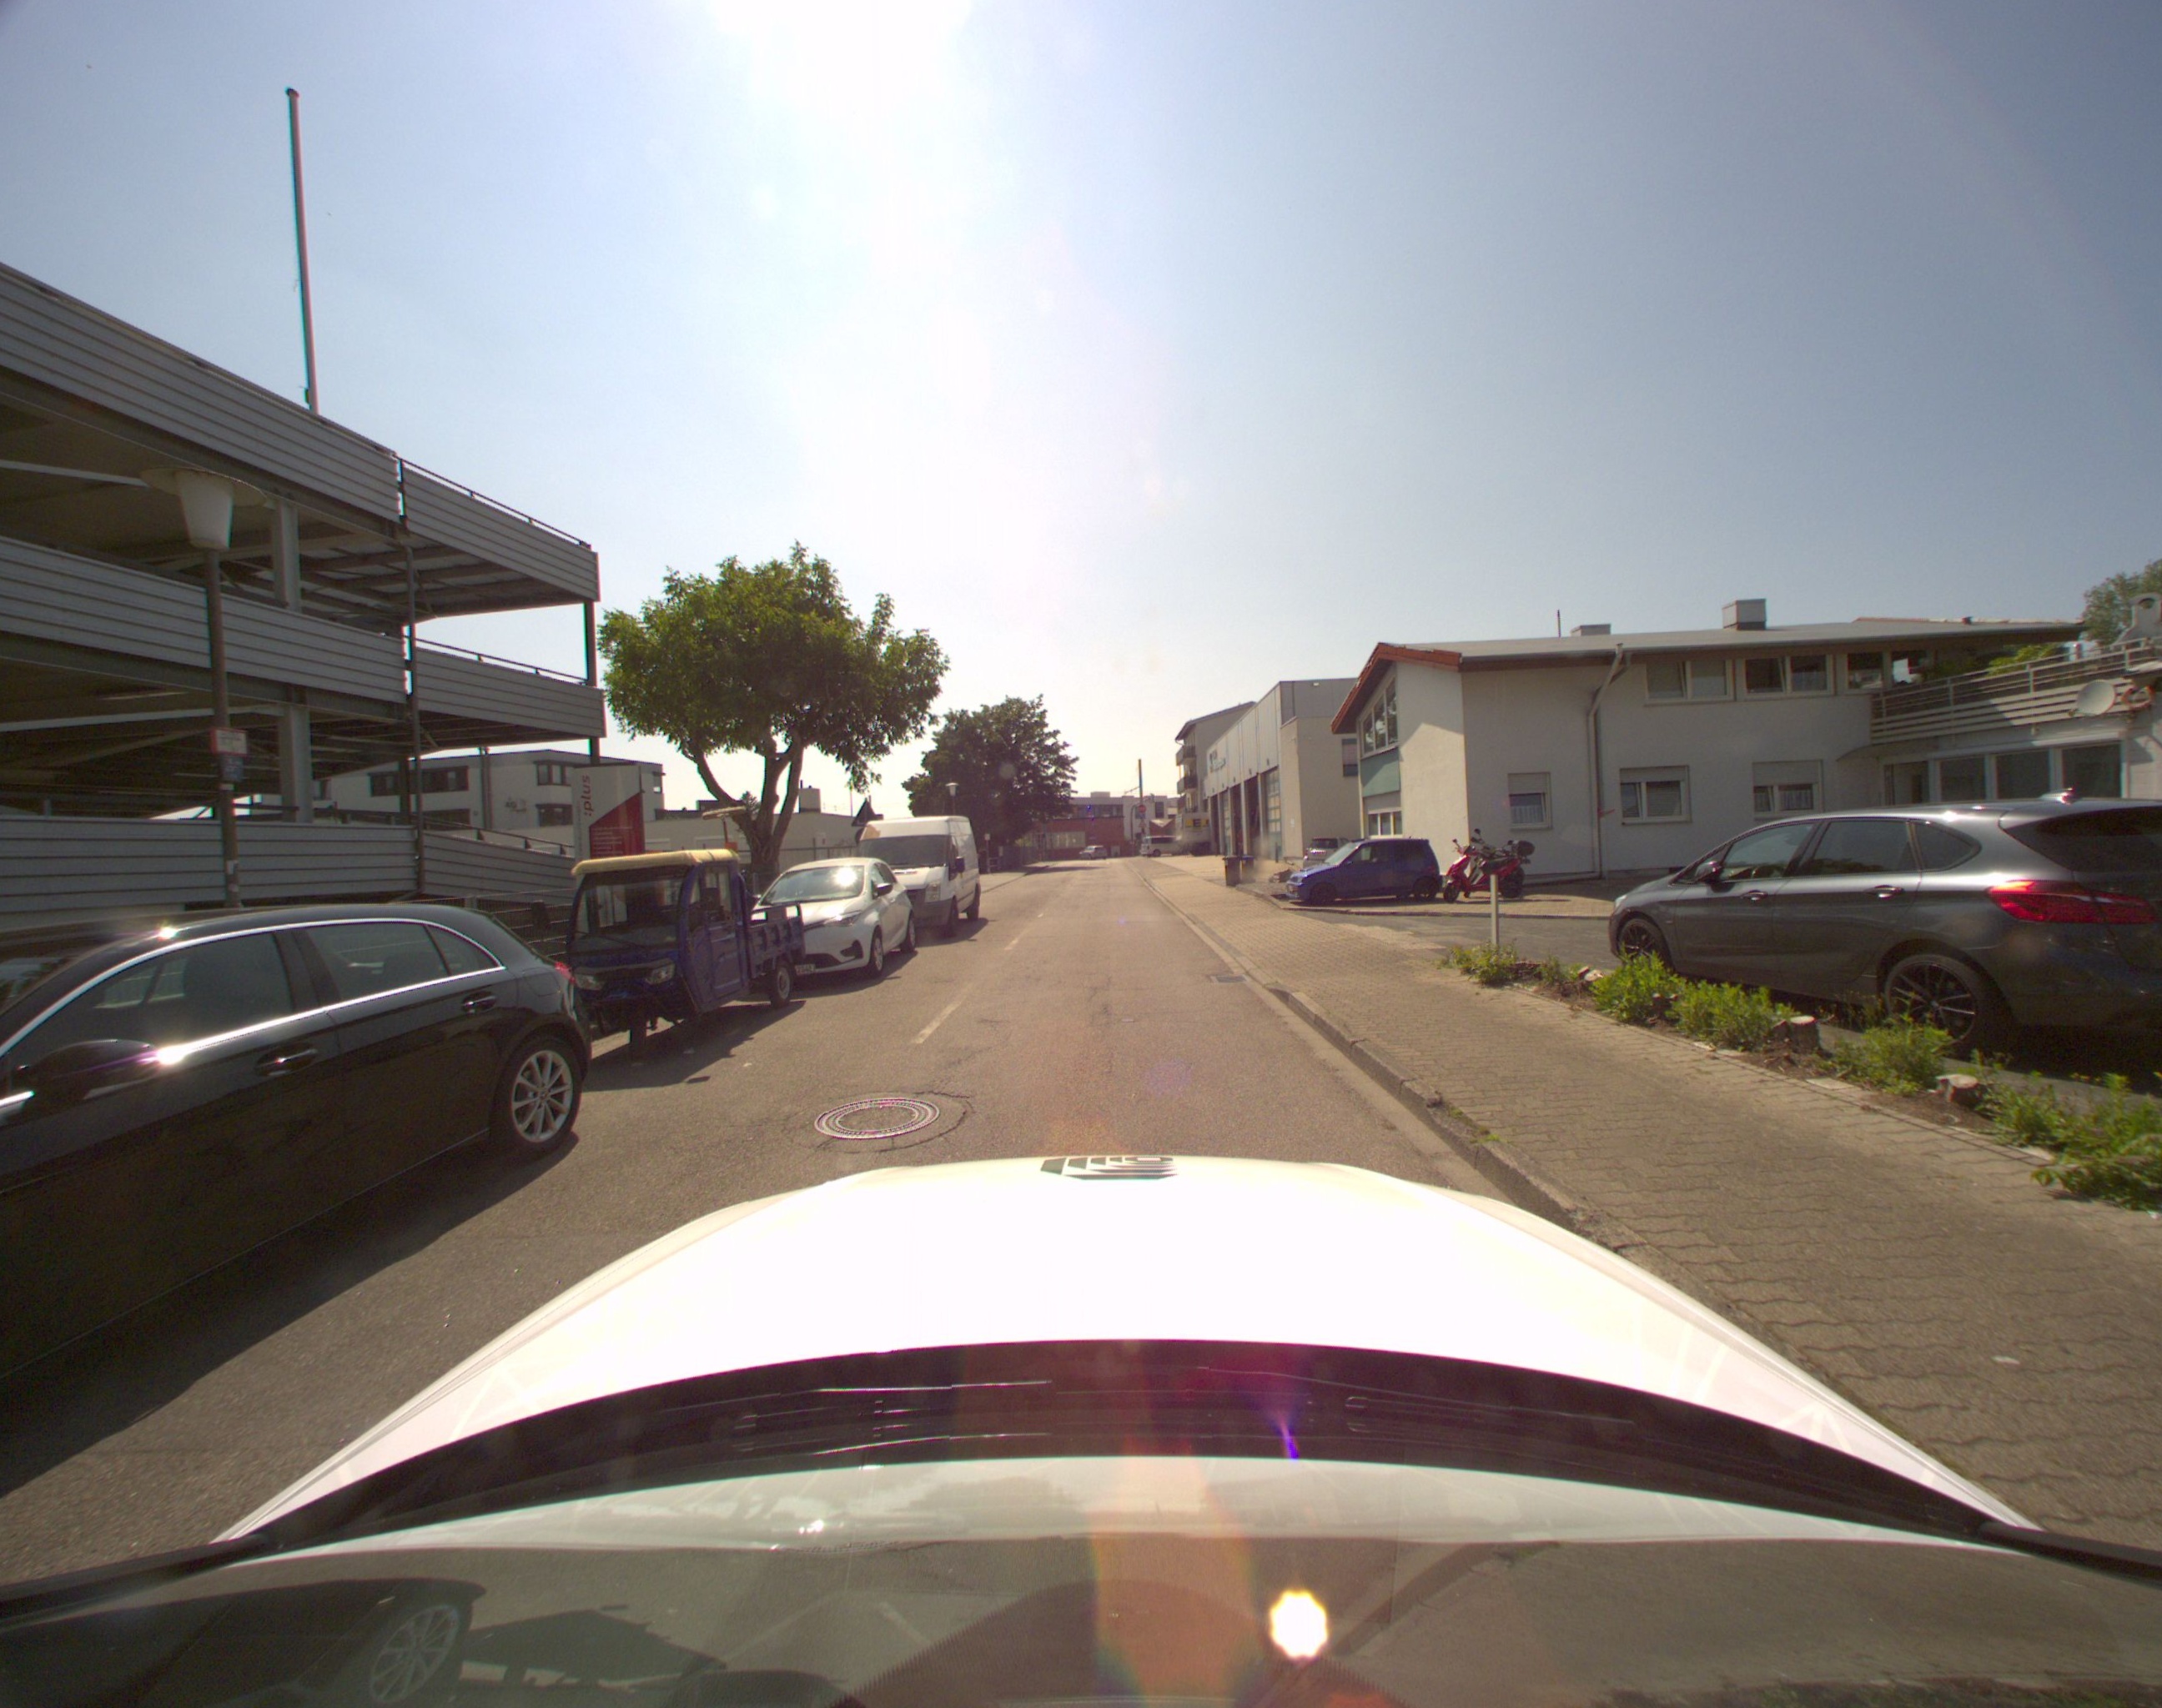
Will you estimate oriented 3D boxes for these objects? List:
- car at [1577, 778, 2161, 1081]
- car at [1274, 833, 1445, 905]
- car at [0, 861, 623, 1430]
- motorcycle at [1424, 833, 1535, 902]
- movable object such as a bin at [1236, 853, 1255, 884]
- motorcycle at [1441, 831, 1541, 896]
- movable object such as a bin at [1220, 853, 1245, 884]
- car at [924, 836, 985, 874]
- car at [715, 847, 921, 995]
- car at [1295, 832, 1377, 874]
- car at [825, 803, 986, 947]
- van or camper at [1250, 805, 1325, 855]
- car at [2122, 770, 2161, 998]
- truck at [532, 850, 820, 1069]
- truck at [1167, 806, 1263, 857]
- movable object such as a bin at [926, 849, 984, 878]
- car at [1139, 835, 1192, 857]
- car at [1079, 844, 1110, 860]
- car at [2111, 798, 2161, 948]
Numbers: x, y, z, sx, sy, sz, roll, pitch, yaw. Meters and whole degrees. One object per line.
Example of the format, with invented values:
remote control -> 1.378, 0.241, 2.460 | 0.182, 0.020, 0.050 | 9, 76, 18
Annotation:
car -> 6.090, 0.350, 6.389 | 1.805, 1.558, 4.294 | -3, 0, 1
car -> 6.157, 0.315, 18.262 | 3.240, 1.398, 1.674 | -3, 0, 2
car -> -3.716, 0.837, 2.887 | 1.698, 1.463, 4.115 | -4, 0, 1
motorcycle -> 8.271, 0.268, 16.946 | 1.864, 1.279, 0.796 | -4, 0, -2
movable object such as a bin -> 5.316, 0.469, 26.310 | 0.510, 0.946, 0.489 | -3, 0, 13
motorcycle -> 9.012, 0.205, 17.935 | 1.748, 1.279, 0.794 | -4, 0, -8
movable object such as a bin -> 4.810, 0.467, 25.909 | 0.562, 0.946, 0.561 | -3, 0, 35
car -> -9.195, 0.057, 59.592 | 4.073, 2.513, 1.777 | -2, 0, -1
car -> -3.476, 0.786, 11.558 | 1.701, 1.624, 3.969 | -4, 0, -3
car -> 10.683, -0.049, 33.937 | 1.756, 1.539, 3.725 | -3, 1, 43
car -> -3.352, 0.348, 16.736 | 1.999, 2.366, 5.229 | -4, 0, 0
van or camper -> 14.794, -1.710, 58.565 | 4.743, 3.288, 1.999 | -3, 0, -2
car -> 8.336, 0.241, 4.059 | 1.752, 1.595, 3.622 | 1, 1, 3
truck -> -3.672, 0.818, 7.950 | 1.135, 1.622, 3.140 | -4, 0, 0
truck -> 11.374, -1.889, 69.399 | 7.346, 3.645, 2.763 | -5, 1, -5
movable object such as a bin -> -7.310, 0.530, 47.575 | 2.612, 1.510, 2.734 | -3, 0, 7
car -> 8.094, -0.757, 77.881 | 4.666, 1.957, 1.905 | -3, 0, -17
car -> 1.386, -0.248, 86.939 | 1.899, 1.685, 3.927 | -1, 1, -23
car -> 11.930, 0.122, 6.564 | 1.759, 1.496, 4.136 | -4, 0, -9
